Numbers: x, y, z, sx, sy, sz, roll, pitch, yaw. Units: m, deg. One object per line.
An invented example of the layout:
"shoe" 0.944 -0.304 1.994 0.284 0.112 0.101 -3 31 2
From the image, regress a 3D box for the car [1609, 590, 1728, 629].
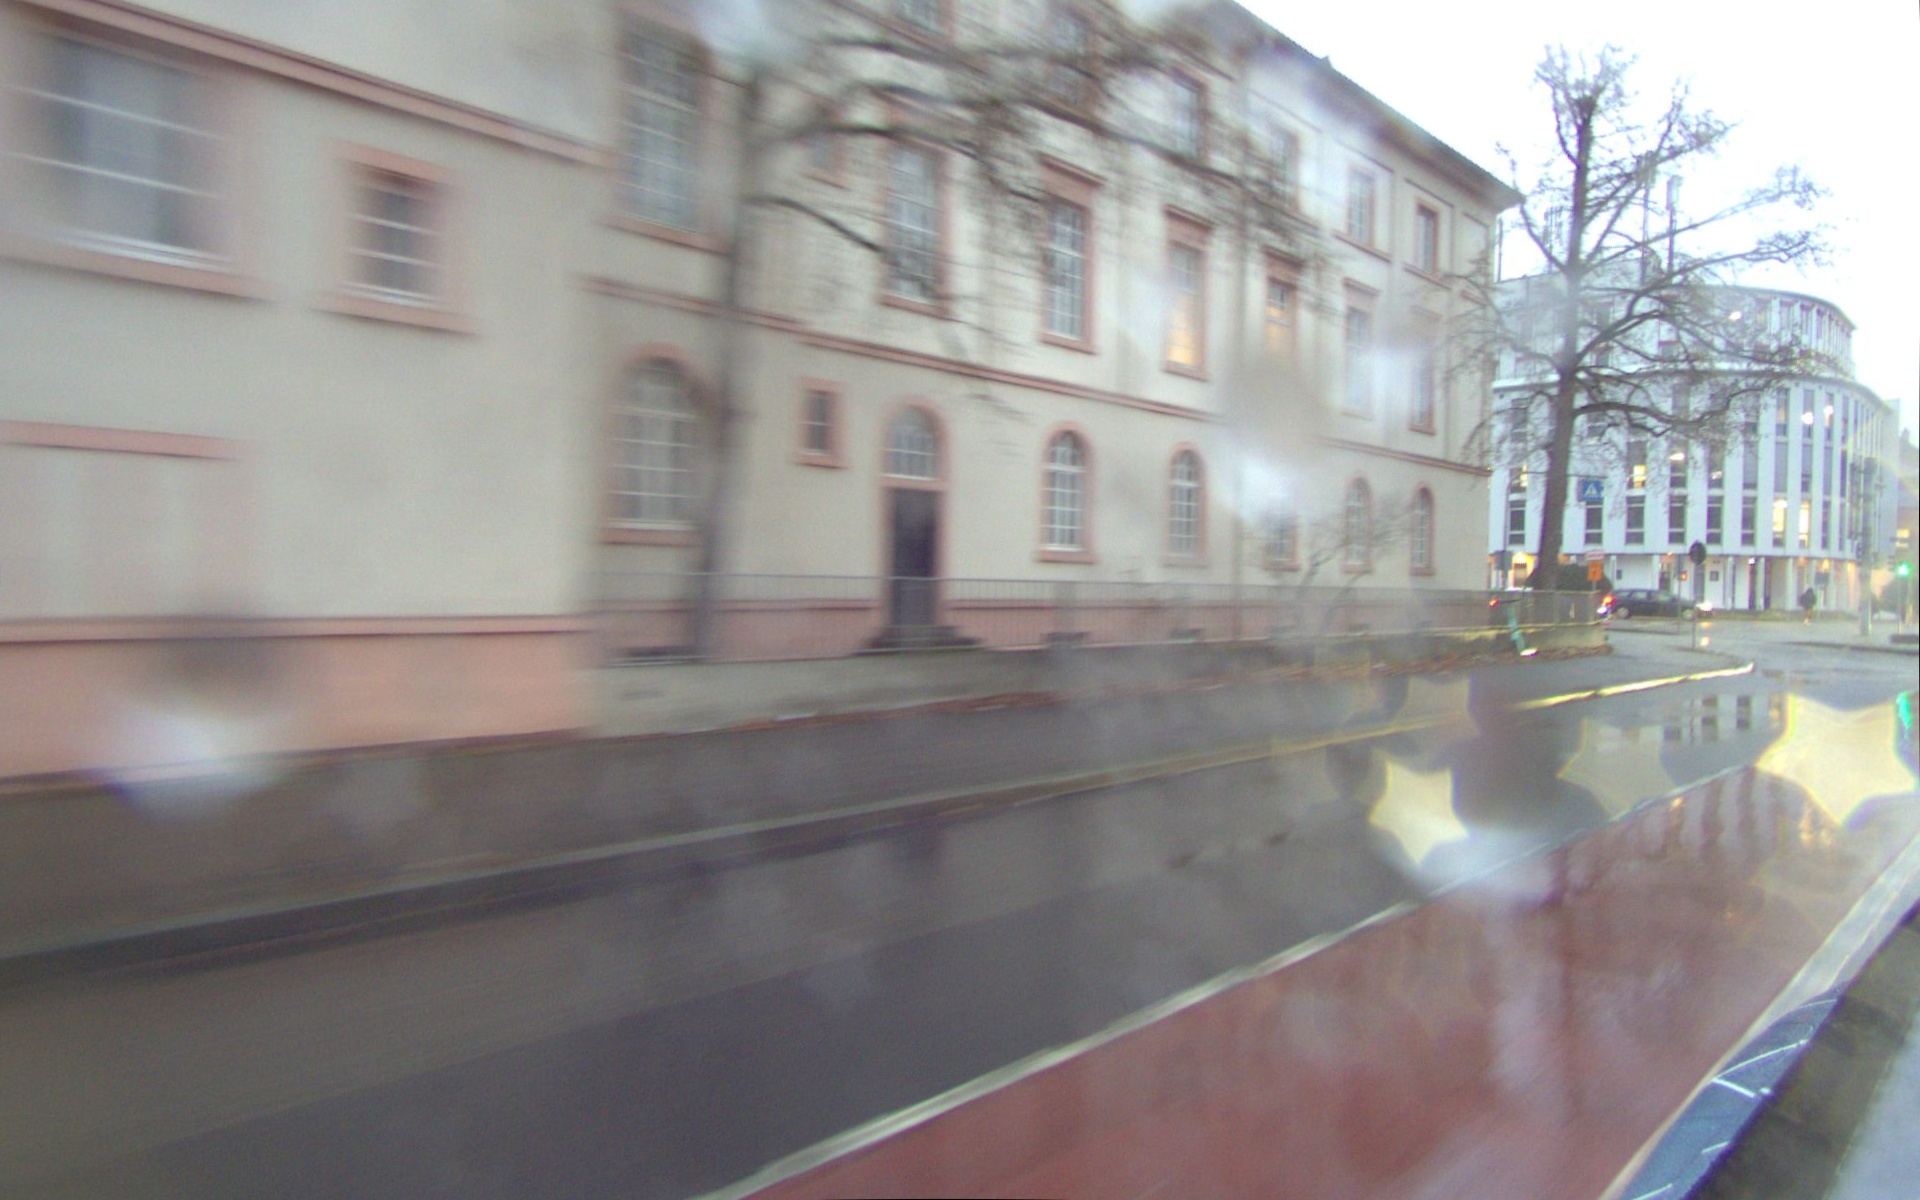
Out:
"car" 33.936 0.422 48.541 4.548 1.739 1.700 1 0 41

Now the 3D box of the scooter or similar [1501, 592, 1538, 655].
"scooter or similar" 11.167 0.448 20.199 0.440 1.219 1.065 0 0 41

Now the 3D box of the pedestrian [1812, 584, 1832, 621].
"pedestrian" 37.714 0.112 44.279 0.653 1.609 0.554 1 0 41
